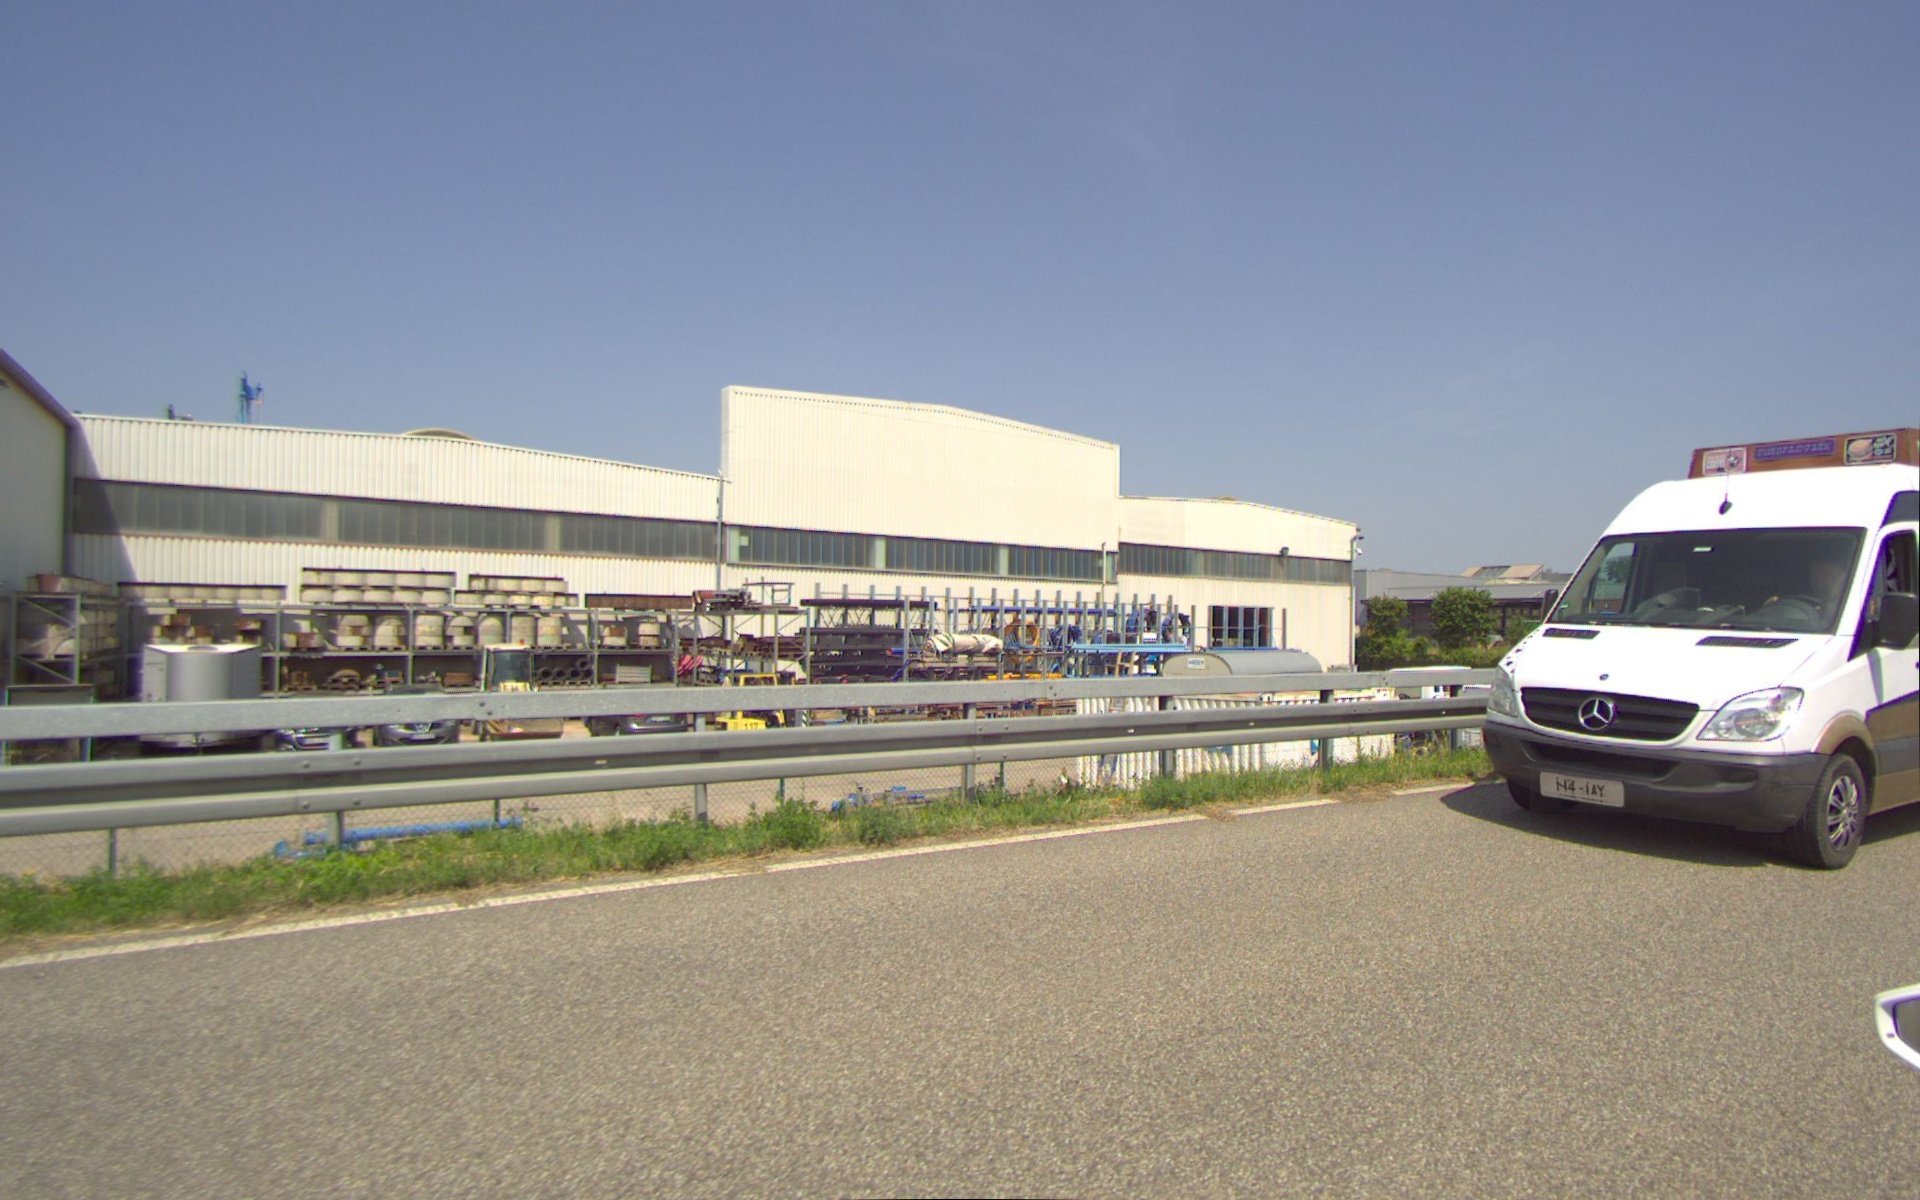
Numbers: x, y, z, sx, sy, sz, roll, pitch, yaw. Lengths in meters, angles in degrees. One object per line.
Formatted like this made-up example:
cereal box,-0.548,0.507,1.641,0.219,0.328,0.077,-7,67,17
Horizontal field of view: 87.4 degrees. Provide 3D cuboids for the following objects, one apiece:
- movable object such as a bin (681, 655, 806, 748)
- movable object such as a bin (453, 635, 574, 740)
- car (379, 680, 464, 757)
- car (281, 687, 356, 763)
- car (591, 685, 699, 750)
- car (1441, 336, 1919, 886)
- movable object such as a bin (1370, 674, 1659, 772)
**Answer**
movable object such as a bin,-5.845,2.614,26.810,1.835,2.040,3.834,1,0,-36
movable object such as a bin,-12.658,2.472,28.342,2.114,2.714,4.511,2,-6,-37
car,-13.753,2.977,25.576,1.657,1.796,3.115,2,-6,-33
car,-15.857,3.029,24.786,1.452,1.696,3.235,2,-6,-34
car,-8.618,3.115,27.248,1.708,1.540,3.962,1,-4,-35
car,6.907,0.115,8.085,6.651,3.002,2.069,1,1,-31
movable object such as a bin,13.683,2.936,25.234,2.425,2.045,5.858,1,-3,-35
